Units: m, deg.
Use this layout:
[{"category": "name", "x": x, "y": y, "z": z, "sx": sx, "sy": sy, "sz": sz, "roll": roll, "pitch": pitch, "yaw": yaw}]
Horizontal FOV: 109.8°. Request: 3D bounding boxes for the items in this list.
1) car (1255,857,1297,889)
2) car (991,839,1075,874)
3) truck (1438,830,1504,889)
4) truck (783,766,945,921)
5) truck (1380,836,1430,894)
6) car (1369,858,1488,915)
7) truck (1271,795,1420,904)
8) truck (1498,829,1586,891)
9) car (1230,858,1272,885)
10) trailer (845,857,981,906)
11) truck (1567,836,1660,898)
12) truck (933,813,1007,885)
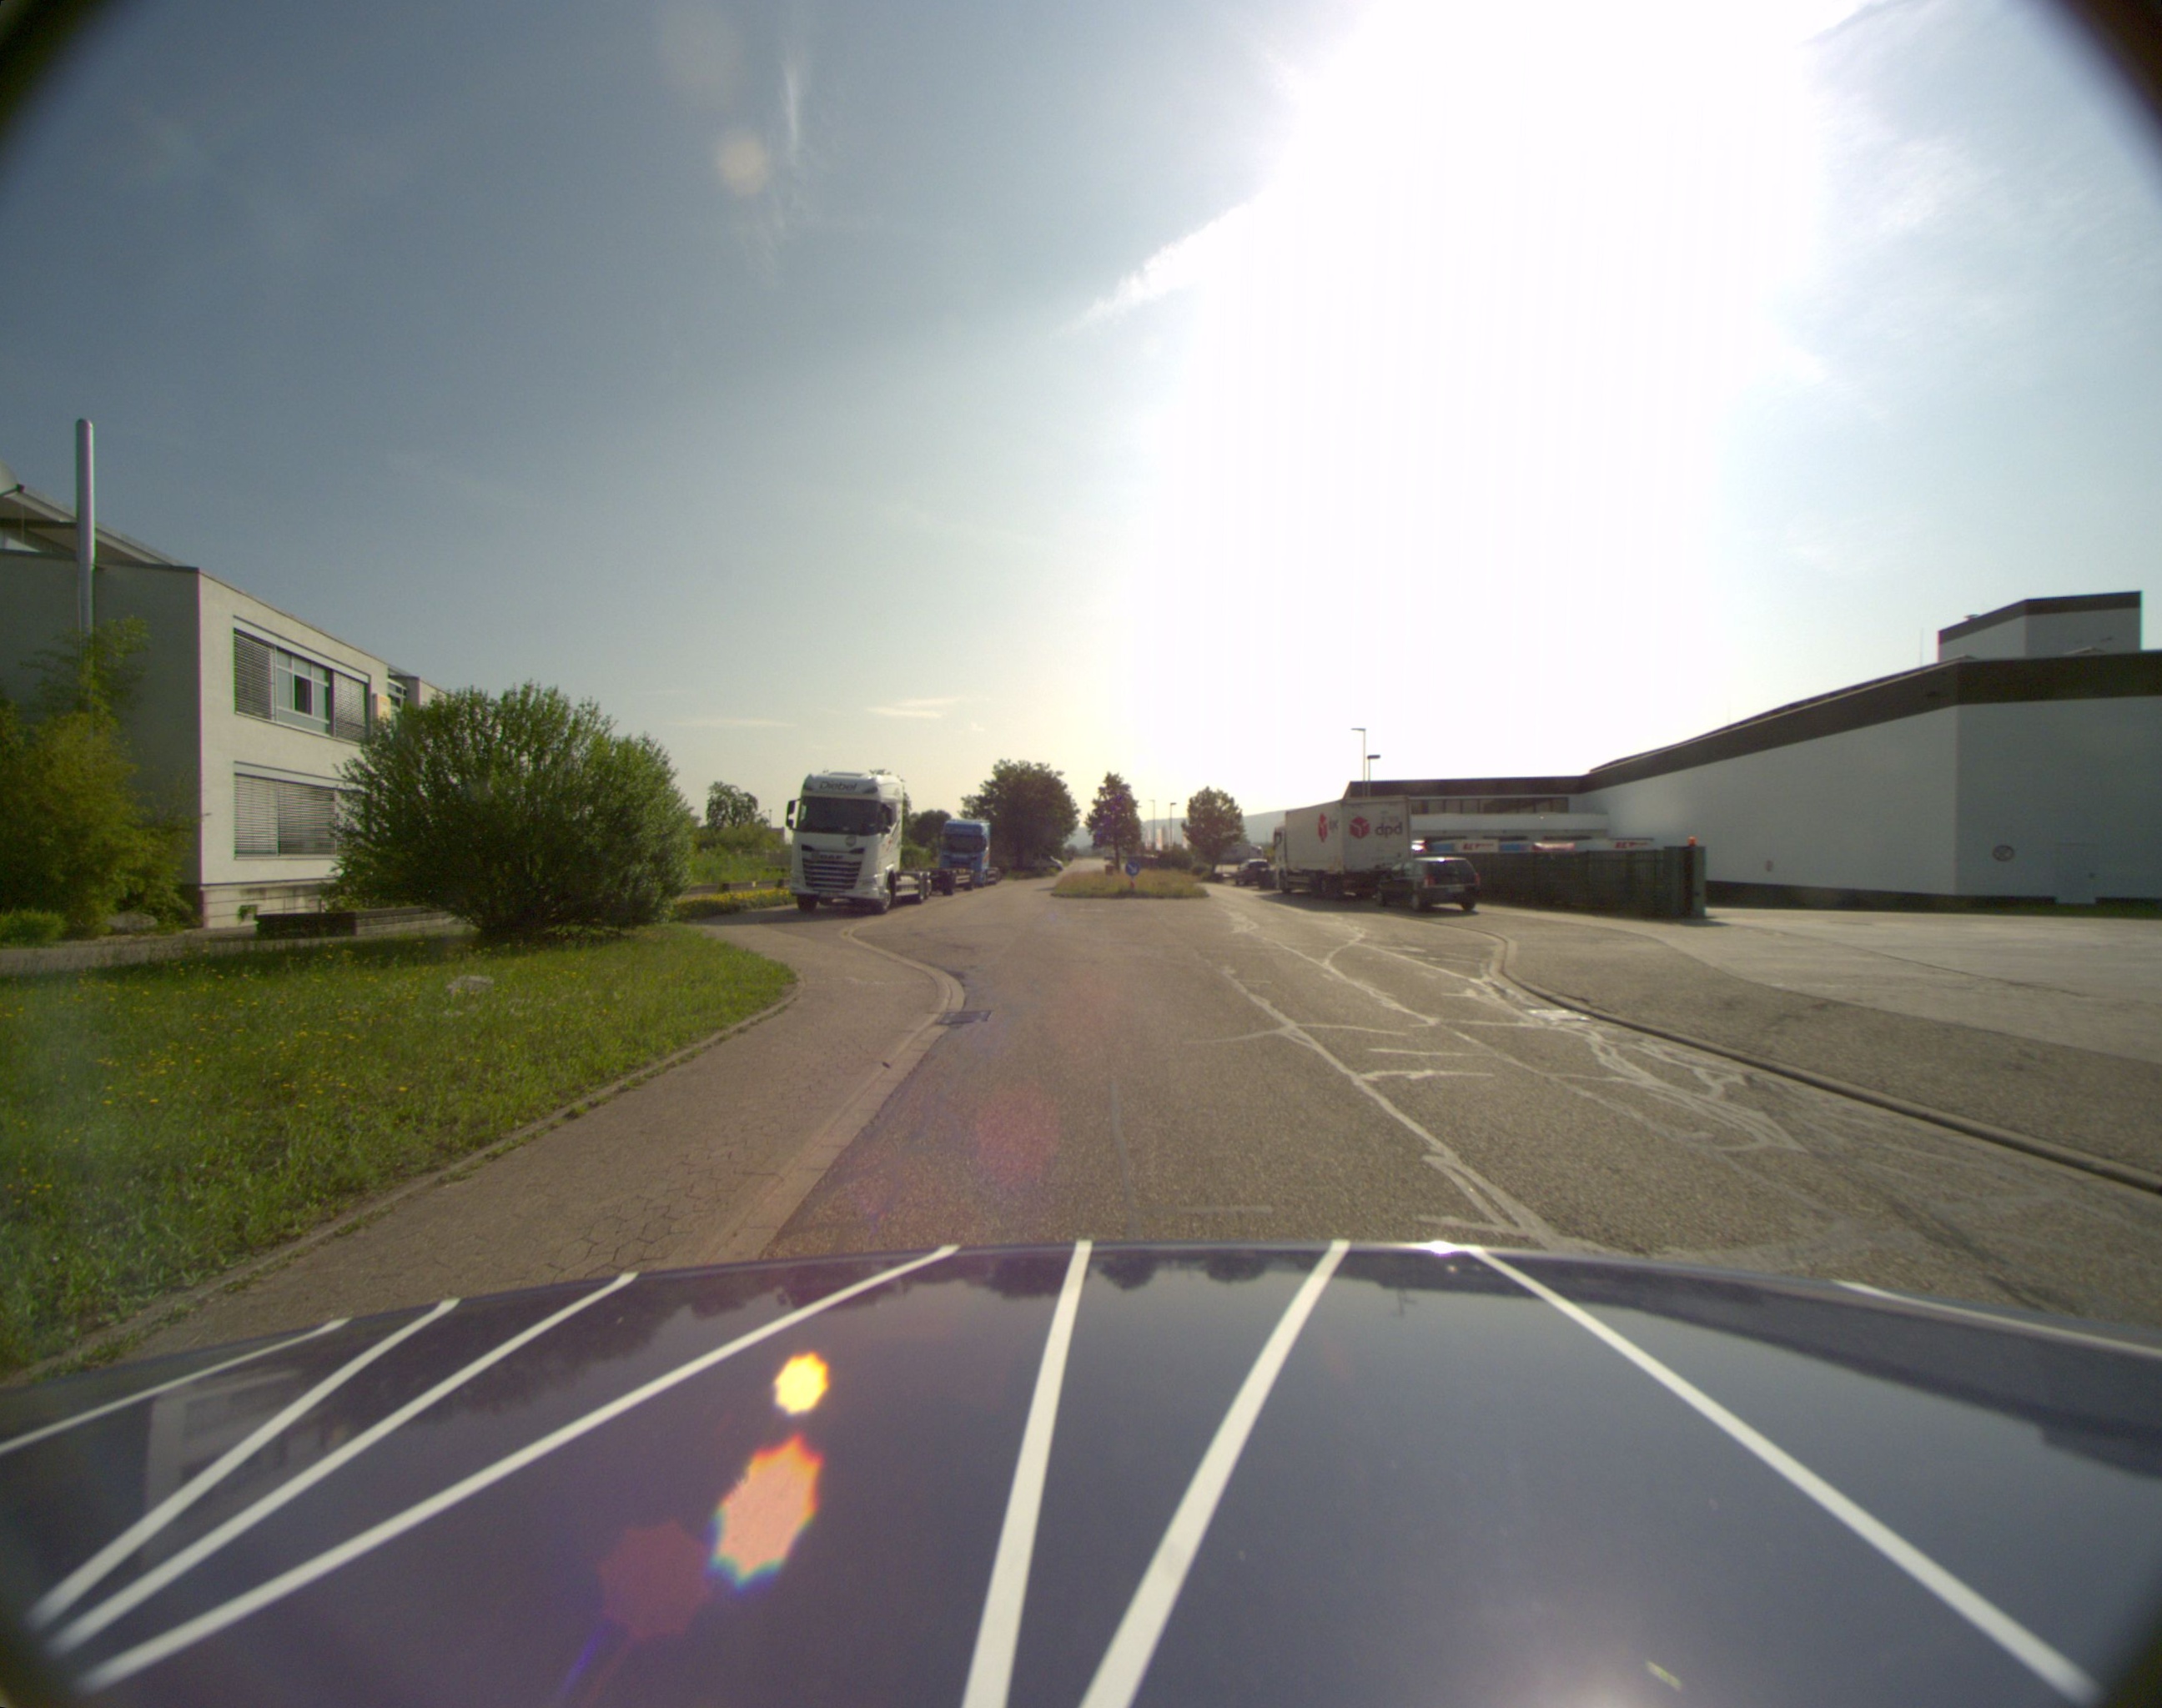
[{"category": "car", "x": 10.558, "y": 1.006, "z": 41.321, "sx": 1.441, "sy": 1.598, "sz": 3.168, "roll": -1, "pitch": 0, "yaw": 0}, {"category": "car", "x": -4.768, "y": 0.198, "z": 75.308, "sx": 8.151, "sy": 3.217, "sz": 2.663, "roll": -1, "pitch": 1, "yaw": -5}, {"category": "truck", "x": 29.234, "y": 0.372, "z": 57.325, "sx": 3.034, "sy": 4.112, "sz": 9.252, "roll": 1, "pitch": 0, "yaw": 19}, {"category": "truck", "x": -6.478, "y": -0.304, "z": 24.245, "sx": 2.559, "sy": 3.958, "sz": 8.580, "roll": 2, "pitch": 0, "yaw": 0}, {"category": "truck", "x": 23.934, "y": 0.724, "z": 56.474, "sx": 2.653, "sy": 3.955, "sz": 9.252, "roll": 1, "pitch": 0, "yaw": 19}, {"category": "car", "x": 10.783, "y": 0.933, "z": 23.948, "sx": 1.767, "sy": 1.583, "sz": 4.193, "roll": -1, "pitch": 0, "yaw": -1}, {"category": "truck", "x": 10.806, "y": -0.180, "z": 32.429, "sx": 2.784, "sy": 3.831, "sz": 10.062, "roll": -3, "pitch": 0, "yaw": 0}, {"category": "truck", "x": 33.286, "y": 0.390, "z": 55.484, "sx": 2.784, "sy": 4.021, "sz": 12.371, "roll": 1, "pitch": 0, "yaw": 19}, {"category": "car", "x": 10.614, "y": 1.036, "z": 47.746, "sx": 1.735, "sy": 1.573, "sz": 3.966, "roll": -1, "pitch": 0, "yaw": 0}, {"category": "trailer", "x": -6.469, "y": 0.935, "z": 32.109, "sx": 2.553, "sy": 1.383, "sz": 14.134, "roll": 2, "pitch": 0, "yaw": 0}, {"category": "truck", "x": 38.031, "y": 0.855, "z": 54.703, "sx": 2.903, "sy": 4.032, "sz": 9.252, "roll": 1, "pitch": 0, "yaw": 19}, {"category": "truck", "x": -6.510, "y": -0.264, "z": 46.404, "sx": 3.044, "sy": 3.916, "sz": 10.577, "roll": 0, "pitch": 0, "yaw": -1}]
